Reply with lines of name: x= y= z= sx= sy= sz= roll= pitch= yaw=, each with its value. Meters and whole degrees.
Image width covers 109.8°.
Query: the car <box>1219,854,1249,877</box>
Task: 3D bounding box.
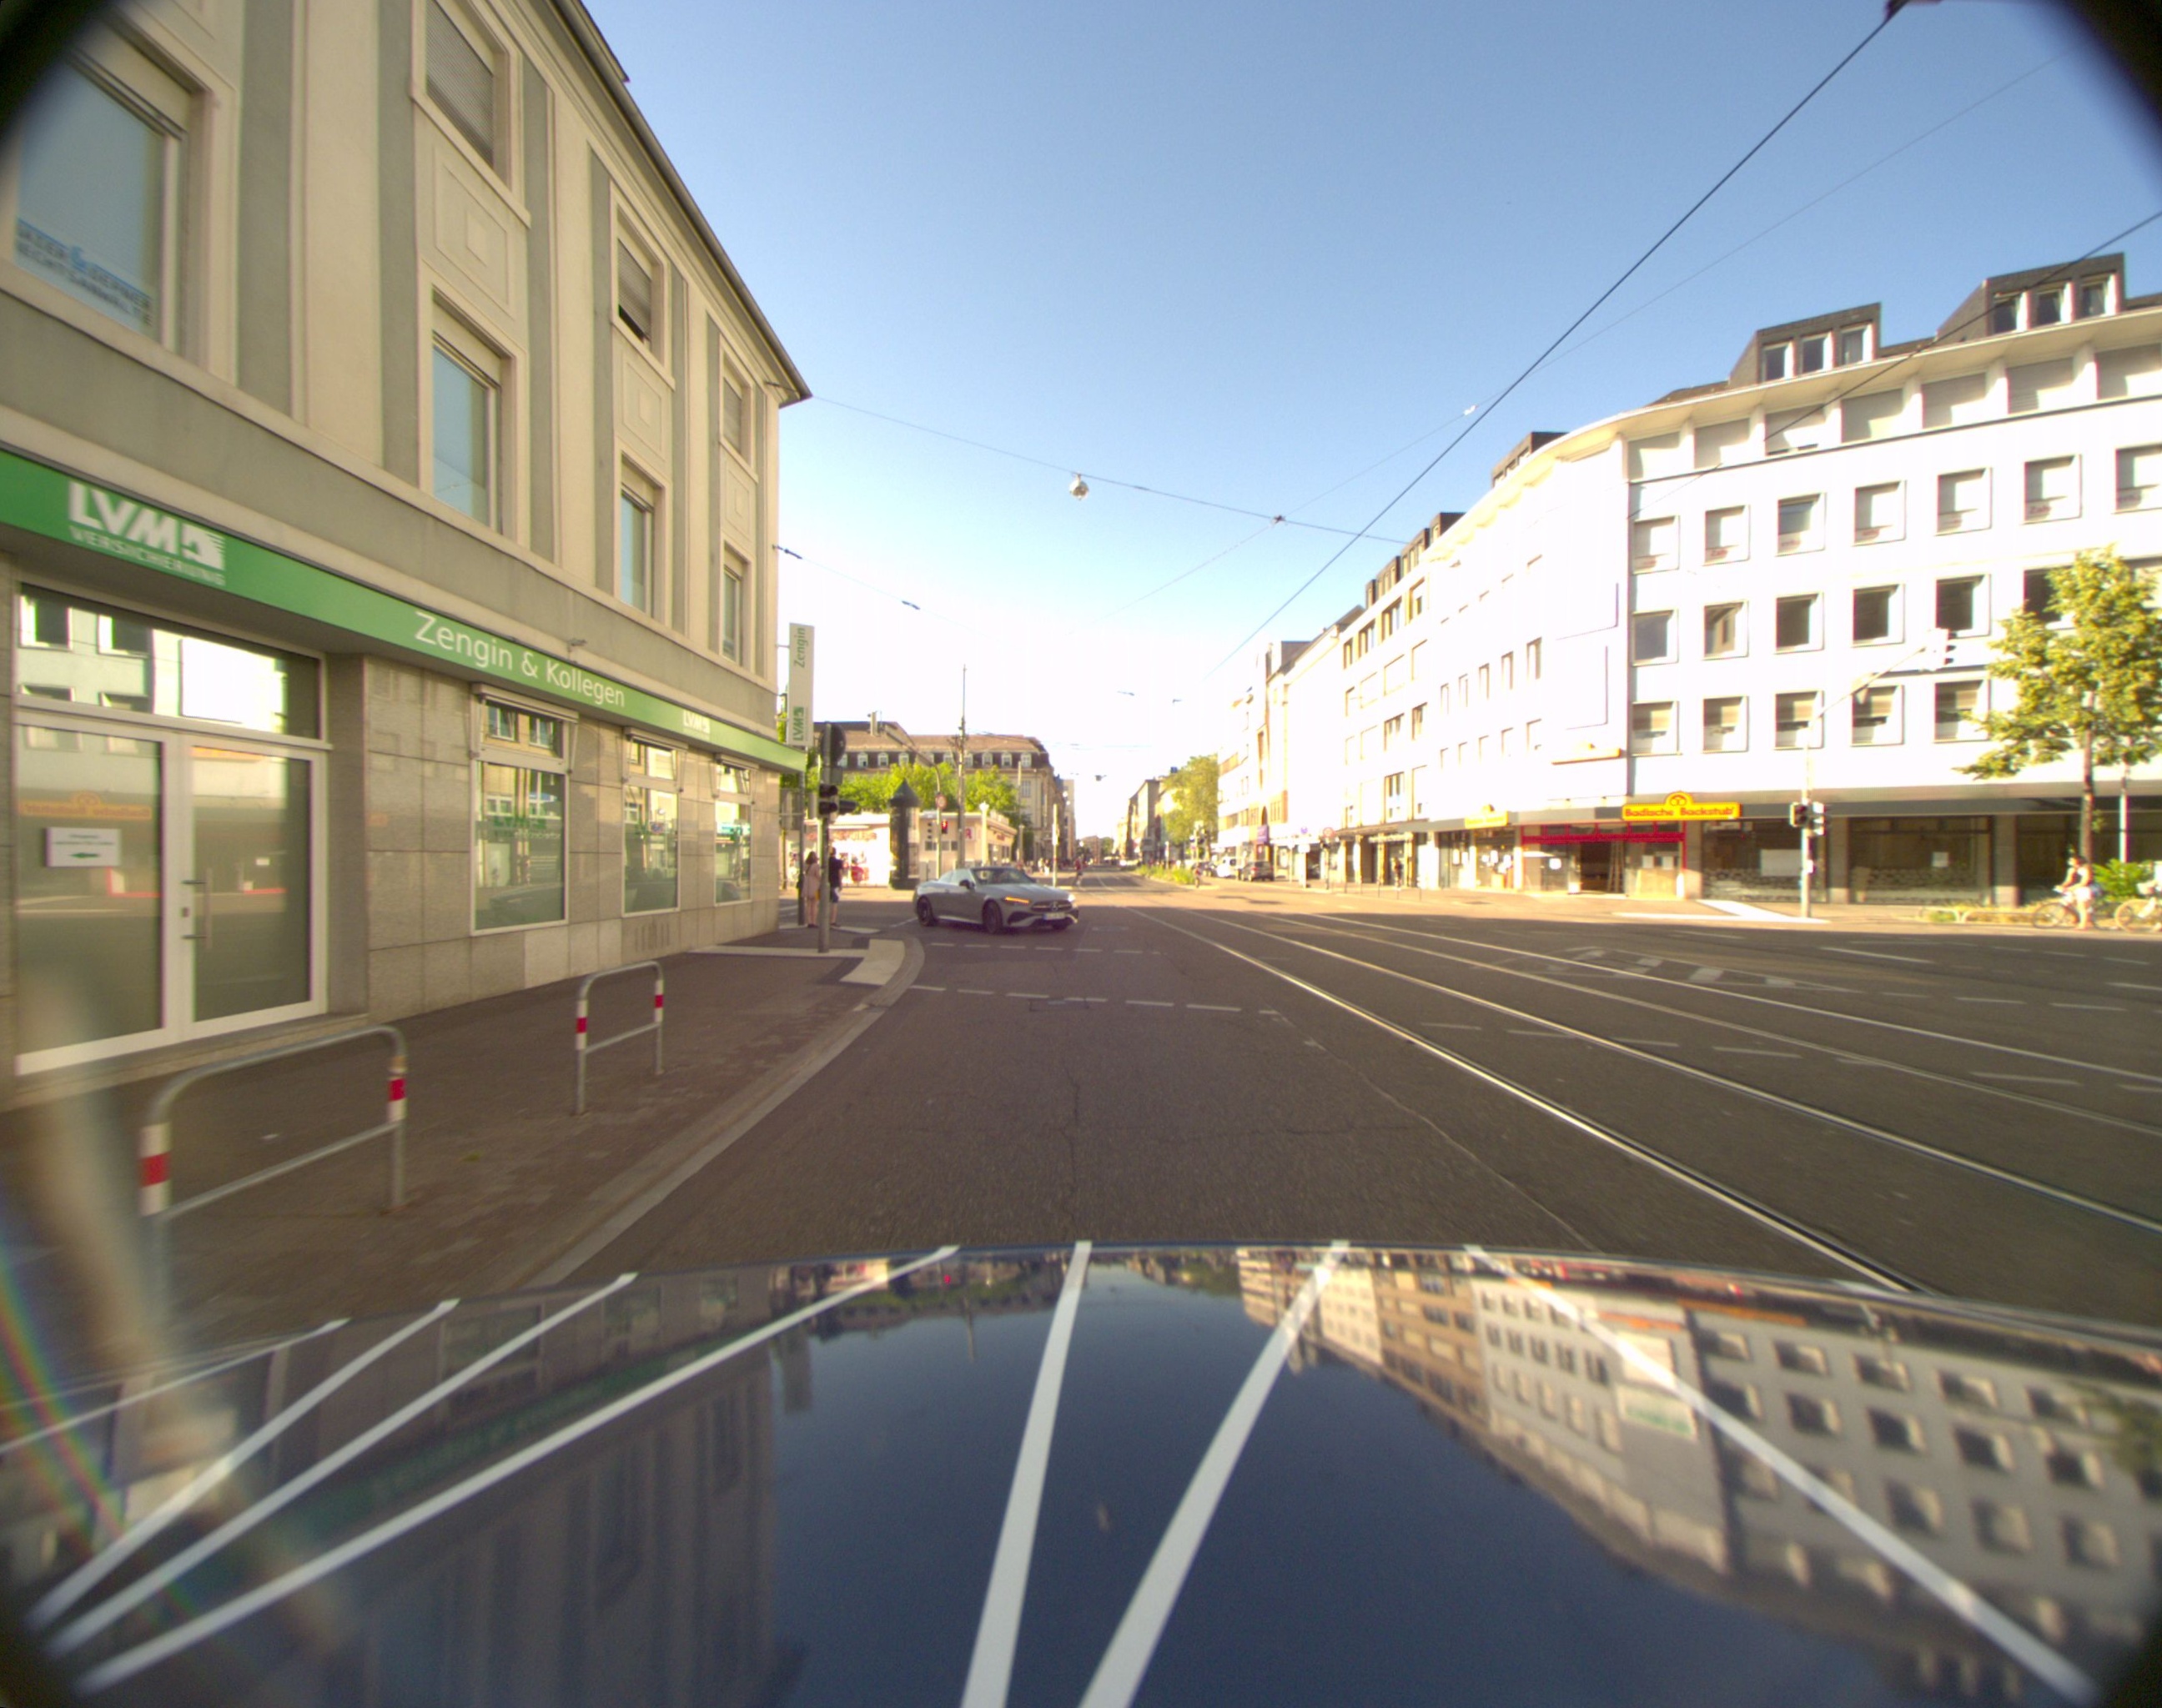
car: x=13.451 y=0.991 z=66.966 sx=1.998 sy=2.002 sz=4.844 roll=0 pitch=0 yaw=4

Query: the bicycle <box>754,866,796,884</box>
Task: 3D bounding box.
bicycle: x=-17.262 y=1.182 z=42.952 sx=0.885 sy=0.996 sz=2.023 roll=0 pitch=0 yaw=39

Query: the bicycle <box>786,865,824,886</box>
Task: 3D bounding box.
bicycle: x=-15.200 y=1.154 z=41.957 sx=0.752 sy=1.082 sz=1.998 roll=0 pitch=1 yaw=27

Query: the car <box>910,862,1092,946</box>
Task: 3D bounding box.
car: x=-1.889 y=0.980 z=16.739 sx=1.915 sy=1.454 sz=4.351 roll=-2 pitch=2 yaw=-39

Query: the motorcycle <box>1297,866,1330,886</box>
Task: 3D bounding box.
motorcycle: x=17.774 y=1.670 z=58.139 sx=2.254 sy=1.496 sz=1.000 roll=0 pitch=0 yaw=-2

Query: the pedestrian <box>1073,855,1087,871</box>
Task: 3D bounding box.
pedestrian: x=-0.134 y=1.517 z=129.874 sx=1.946 sy=2.774 sz=1.382 roll=0 pitch=1 yaw=36

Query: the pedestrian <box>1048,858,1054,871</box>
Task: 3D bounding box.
pedestrian: x=-3.046 y=1.063 z=76.744 sx=0.509 sy=1.266 sz=0.720 roll=0 pitch=0 yaw=5

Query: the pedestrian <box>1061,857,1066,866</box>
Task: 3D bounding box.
pedestrian: x=-2.514 y=1.070 z=110.331 sx=0.691 sy=1.372 sz=0.780 roll=0 pitch=0 yaw=2

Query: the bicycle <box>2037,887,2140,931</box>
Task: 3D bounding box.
bicycle: x=22.582 y=1.225 z=17.051 sx=1.453 sy=0.950 sz=0.482 roll=0 pitch=0 yaw=11

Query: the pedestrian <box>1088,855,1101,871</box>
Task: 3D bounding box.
pedestrian: x=2.340 y=1.514 z=129.142 sx=1.835 sy=2.774 sz=1.296 roll=0 pitch=1 yaw=36

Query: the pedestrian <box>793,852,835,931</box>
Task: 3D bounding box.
pedestrian: x=-6.043 y=0.832 z=17.192 sx=0.648 sy=1.749 sz=0.575 roll=0 pitch=1 yaw=24

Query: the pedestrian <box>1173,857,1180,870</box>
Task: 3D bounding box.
pedestrian: x=12.365 y=1.249 z=97.881 sx=0.578 sy=1.615 sz=0.708 roll=1 pitch=1 yaw=44

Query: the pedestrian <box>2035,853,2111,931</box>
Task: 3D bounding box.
pedestrian: x=22.259 y=0.836 z=17.062 sx=0.653 sy=1.702 sz=0.793 roll=0 pitch=1 yaw=10

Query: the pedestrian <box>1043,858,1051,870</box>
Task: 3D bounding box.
pedestrian: x=-4.284 y=1.281 z=96.206 sx=0.946 sy=1.456 sz=0.780 roll=0 pitch=0 yaw=2

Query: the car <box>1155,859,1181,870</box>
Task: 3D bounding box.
car: x=13.996 y=1.664 z=122.151 sx=3.996 sy=1.787 sz=2.000 roll=0 pitch=0 yaw=1

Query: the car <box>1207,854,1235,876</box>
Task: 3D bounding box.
car: x=13.293 y=1.009 z=72.506 sx=1.998 sy=2.002 sz=4.000 roll=0 pitch=0 yaw=1

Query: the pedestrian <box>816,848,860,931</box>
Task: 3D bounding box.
pedestrian: x=-5.489 y=0.780 z=17.161 sx=0.680 sy=1.831 sz=0.643 roll=0 pitch=0 yaw=24

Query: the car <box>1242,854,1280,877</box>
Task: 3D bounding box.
car: x=13.846 y=0.846 z=58.553 sx=1.998 sy=1.696 sz=4.000 roll=0 pitch=0 yaw=1

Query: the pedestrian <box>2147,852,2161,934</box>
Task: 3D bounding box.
pedestrian: x=22.868 y=0.812 z=15.714 sx=0.558 sy=1.718 sz=0.781 roll=0 pitch=1 yaw=10

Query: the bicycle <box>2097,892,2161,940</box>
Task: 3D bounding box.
bicycle: x=22.681 y=1.304 z=15.888 sx=1.791 sy=0.962 sz=0.554 roll=0 pitch=0 yaw=13

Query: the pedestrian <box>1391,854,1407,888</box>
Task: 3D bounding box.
pedestrian: x=16.116 y=0.864 z=38.520 sx=0.710 sy=1.699 sz=0.561 roll=0 pitch=0 yaw=22

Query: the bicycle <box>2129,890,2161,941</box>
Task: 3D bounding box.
bicycle: x=22.395 y=1.234 z=15.106 sx=1.722 sy=1.001 sz=0.762 roll=0 pitch=-3 yaw=13

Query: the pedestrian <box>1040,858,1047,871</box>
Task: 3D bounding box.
pedestrian: x=-3.764 y=1.084 z=76.189 sx=0.622 sy=1.266 sz=0.780 roll=0 pitch=0 yaw=3

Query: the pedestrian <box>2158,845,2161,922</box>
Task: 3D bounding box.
pedestrian: x=22.500 y=0.724 z=15.068 sx=1.000 sy=1.855 sz=0.781 roll=0 pitch=-2 yaw=10

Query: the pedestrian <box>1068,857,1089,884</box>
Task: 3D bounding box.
pedestrian: x=-0.158 y=1.017 z=46.795 sx=0.947 sy=1.653 sz=0.915 roll=0 pitch=0 yaw=-33

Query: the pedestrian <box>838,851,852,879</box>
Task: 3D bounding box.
pedestrian: x=-14.318 y=0.670 z=46.120 sx=0.610 sy=1.699 sz=0.522 roll=0 pitch=0 yaw=24

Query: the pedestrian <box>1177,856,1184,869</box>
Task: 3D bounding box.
pedestrian: x=12.787 y=1.117 z=97.442 sx=0.578 sy=1.705 sz=0.708 roll=1 pitch=1 yaw=44

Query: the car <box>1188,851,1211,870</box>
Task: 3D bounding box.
car: x=13.057 y=0.708 z=83.791 sx=1.998 sy=2.002 sz=4.000 roll=0 pitch=0 yaw=1
